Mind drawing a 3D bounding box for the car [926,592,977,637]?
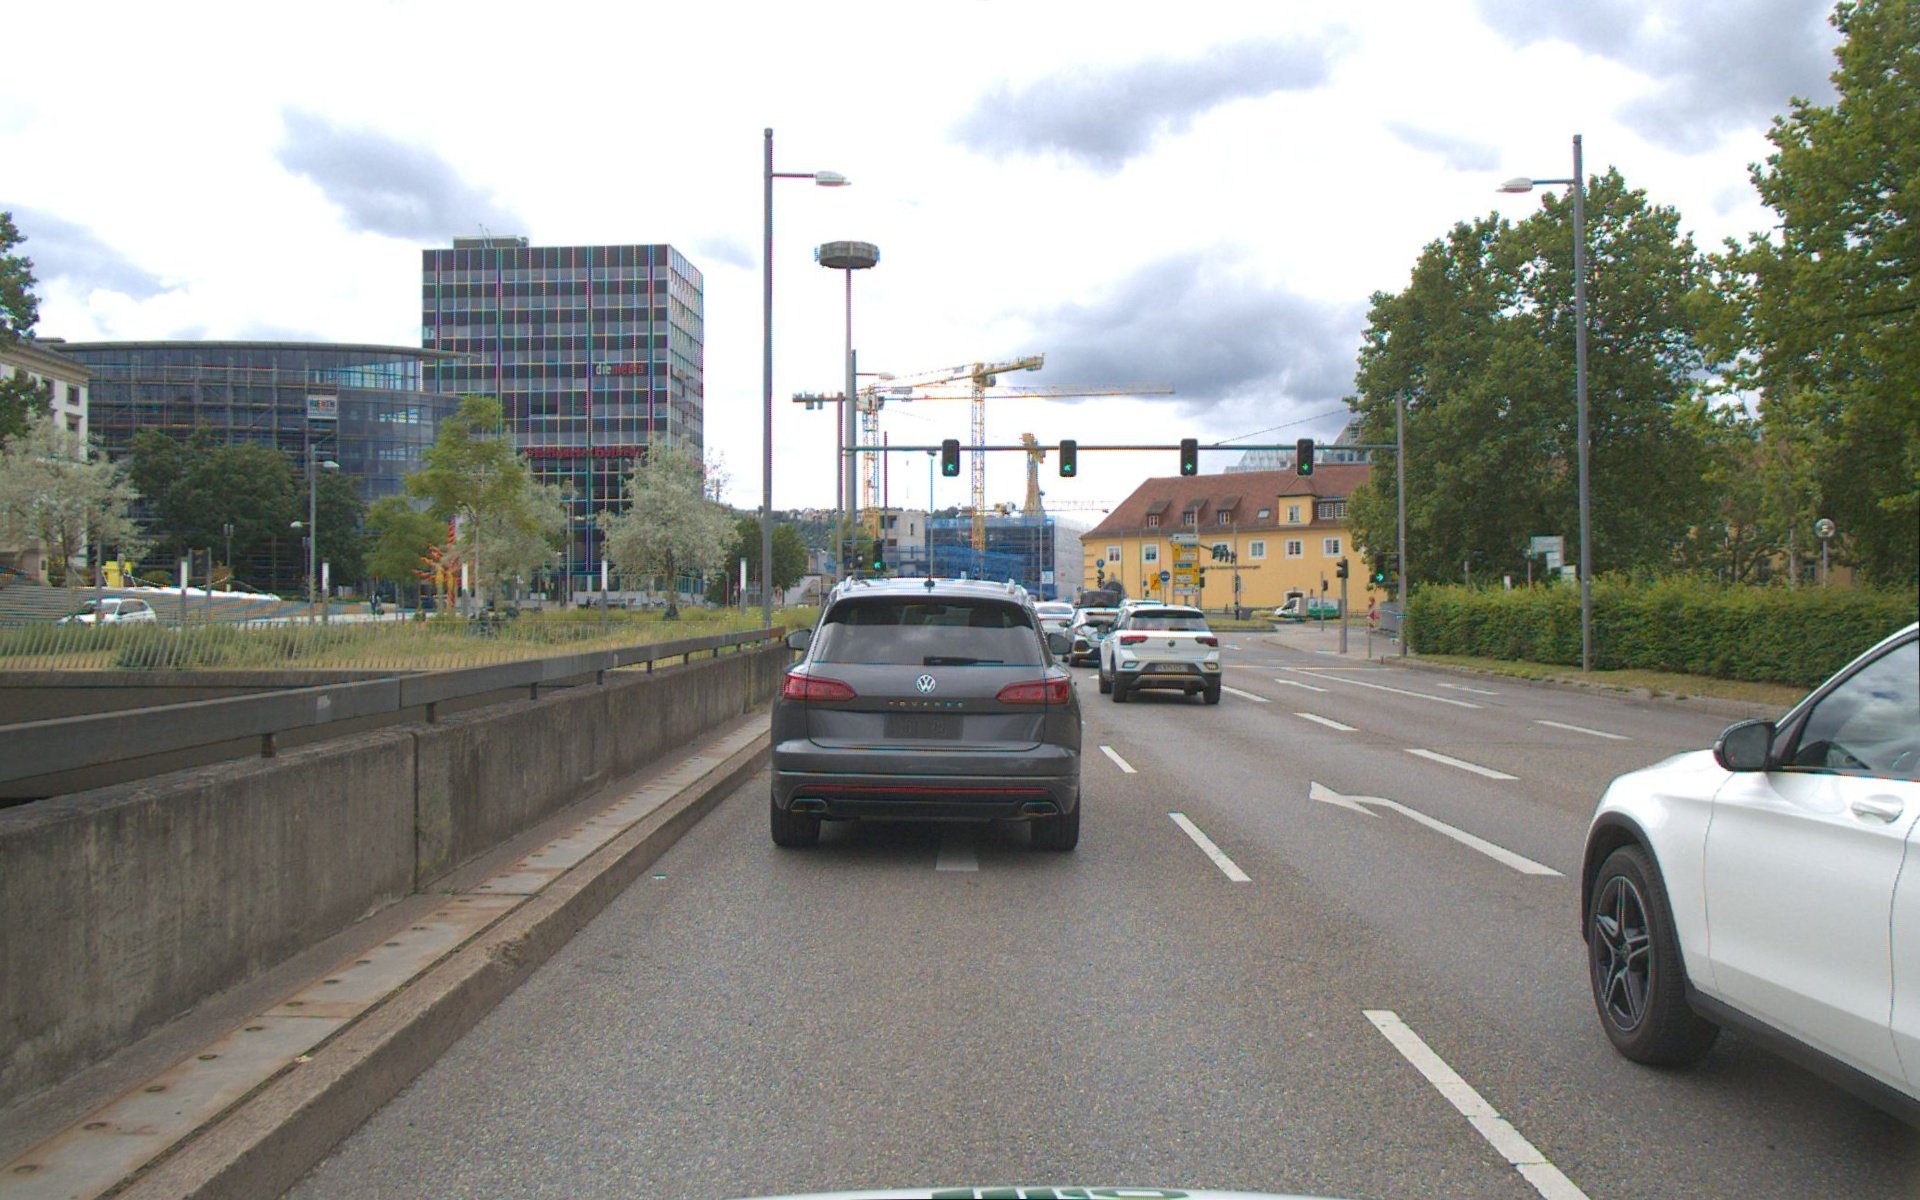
[{"bbox_3d":[-0.301,0.485,59.065,1.777,1.522,3.906,1,0,0],"label":"car"}]

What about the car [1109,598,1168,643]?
[{"bbox_3d":[6.501,0.721,60.639,1.766,1.529,3.981,1,0,1],"label":"car"}]

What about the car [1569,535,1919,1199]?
[{"bbox_3d":[3.184,0.693,4.107,1.781,1.676,4.379,1,0,1],"label":"car"}]

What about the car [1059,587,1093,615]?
[{"bbox_3d":[6.474,0.050,92.885,1.683,1.529,3.981,1,0,1],"label":"car"}]

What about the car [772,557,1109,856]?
[{"bbox_3d":[-0.119,0.593,11.378,1.893,1.676,4.000,1,0,0],"label":"car"}]

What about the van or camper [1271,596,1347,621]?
[{"bbox_3d":[28.839,0.707,136.819,5.903,2.049,2.012,0,-1,36],"label":"van or camper"}]

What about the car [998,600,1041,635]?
[{"bbox_3d":[3.054,0.908,85.815,2.095,1.758,4.070,0,0,1],"label":"car"}]

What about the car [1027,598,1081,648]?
[{"bbox_3d":[3.087,0.731,54.582,1.683,1.529,3.983,1,0,3],"label":"car"}]

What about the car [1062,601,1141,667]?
[{"bbox_3d":[3.514,0.809,41.583,1.683,1.529,4.144,1,0,1],"label":"car"}]

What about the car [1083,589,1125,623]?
[{"bbox_3d":[6.712,0.282,77.444,1.683,1.529,3.981,1,0,1],"label":"car"}]

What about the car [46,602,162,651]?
[{"bbox_3d":[-30.527,0.924,59.149,1.683,1.602,4.613,0,1,1],"label":"car"}]

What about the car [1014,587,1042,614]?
[{"bbox_3d":[5.206,0.011,127.509,1.953,2.049,4.000,1,0,0],"label":"car"}]

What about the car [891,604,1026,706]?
[{"bbox_3d":[-0.027,0.803,25.986,1.953,1.411,4.000,0,1,0],"label":"car"}]

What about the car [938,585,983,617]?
[{"bbox_3d":[0.058,0.046,83.141,2.198,1.529,4.612,1,0,1],"label":"car"}]

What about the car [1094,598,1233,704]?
[{"bbox_3d":[3.345,0.802,27.869,1.855,1.613,3.801,1,0,0],"label":"car"}]

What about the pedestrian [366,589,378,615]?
[{"bbox_3d":[-37.192,0.123,104.563,0.513,1.678,0.650,1,0,-2],"label":"pedestrian"}]
